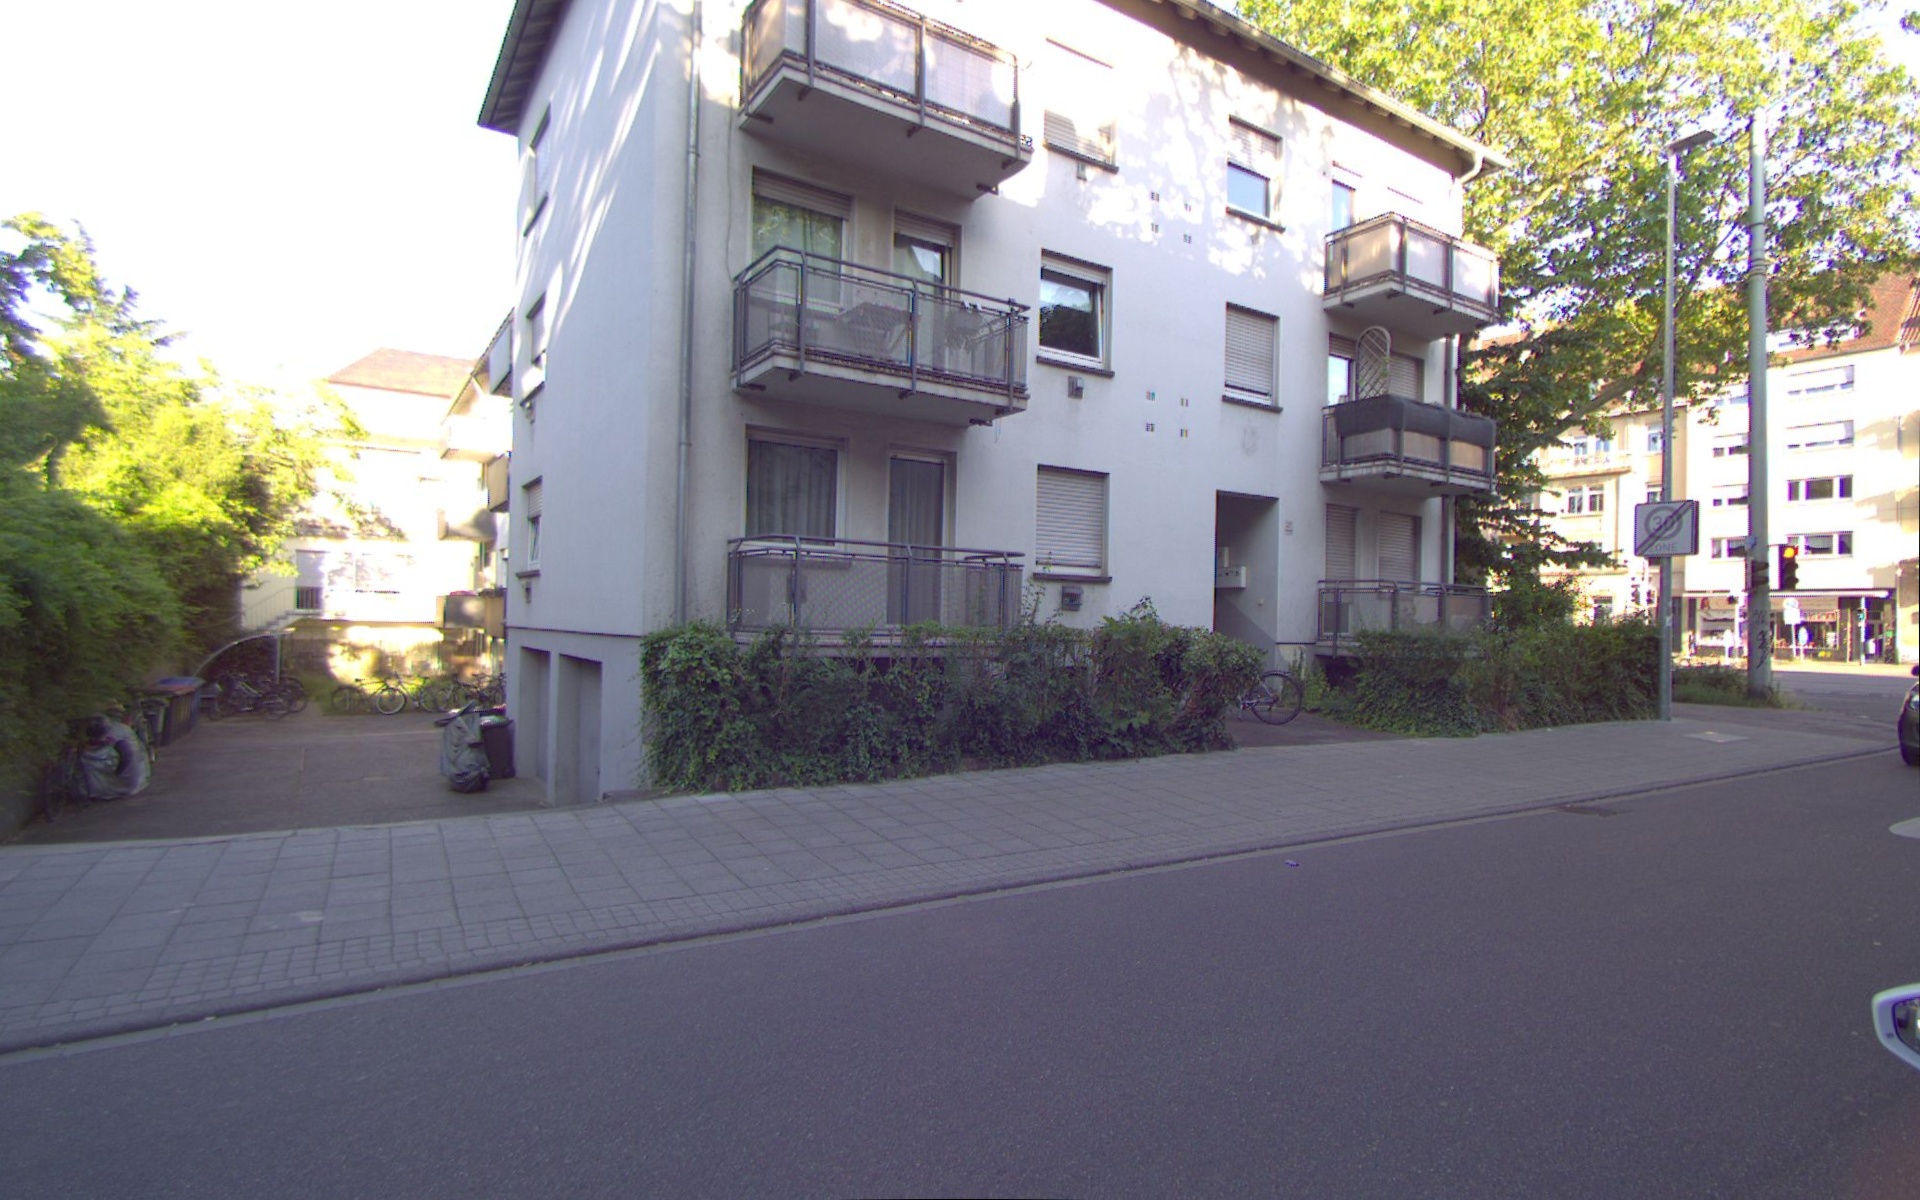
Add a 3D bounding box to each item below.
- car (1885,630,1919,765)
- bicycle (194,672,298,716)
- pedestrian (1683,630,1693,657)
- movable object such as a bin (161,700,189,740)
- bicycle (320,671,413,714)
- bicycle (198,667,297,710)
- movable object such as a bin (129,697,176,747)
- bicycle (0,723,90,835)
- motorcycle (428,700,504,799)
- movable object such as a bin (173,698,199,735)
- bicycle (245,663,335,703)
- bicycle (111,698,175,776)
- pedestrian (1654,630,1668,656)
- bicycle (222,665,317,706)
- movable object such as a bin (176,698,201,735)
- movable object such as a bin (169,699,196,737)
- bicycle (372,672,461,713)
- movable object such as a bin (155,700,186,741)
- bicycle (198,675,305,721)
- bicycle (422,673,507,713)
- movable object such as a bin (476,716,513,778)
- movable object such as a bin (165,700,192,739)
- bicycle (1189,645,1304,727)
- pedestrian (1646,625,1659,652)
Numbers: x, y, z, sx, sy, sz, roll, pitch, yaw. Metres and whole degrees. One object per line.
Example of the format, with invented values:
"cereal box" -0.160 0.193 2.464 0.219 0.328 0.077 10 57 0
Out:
"car" 12.659 1.141 11.843 3.549 1.521 1.608 1 -1 -30
"bicycle" -18.032 2.378 25.431 2.045 1.034 0.568 4 0 -30
"pedestrian" 42.174 2.519 58.189 0.467 1.531 0.429 0 -1 41
"movable object such as a bin" -15.829 2.412 20.256 0.377 0.784 0.361 2 -4 -30
"bicycle" -15.697 2.455 26.616 2.045 1.034 0.637 4 0 -30
"bicycle" -18.864 2.360 26.658 2.045 1.034 0.611 4 0 -30
"movable object such as a bin" -14.955 2.252 18.624 0.570 0.891 0.491 2 -4 -30
"bicycle" -11.014 2.098 12.061 0.509 1.033 1.922 3 -1 -32
"motorcycle" -7.404 2.194 15.025 0.751 1.268 1.578 1 -2 -36
"movable object such as a bin" -16.395 2.466 21.284 0.362 0.768 0.361 2 -4 -30
"bicycle" -19.022 2.365 28.567 2.045 1.034 0.564 4 0 -30
"bicycle" -13.226 2.180 16.296 0.509 1.033 1.922 3 -1 -32
"pedestrian" 41.229 2.527 59.051 0.531 1.531 0.505 1 -1 -34
"bicycle" -18.999 2.361 27.695 2.045 1.034 0.611 4 0 -30
"movable object such as a bin" -16.610 2.501 21.628 0.342 0.768 0.361 2 -4 -30
"movable object such as a bin" -16.214 2.449 20.947 0.362 0.768 0.361 2 -4 -30
"bicycle" -14.709 2.514 27.216 2.045 1.034 0.637 4 0 -30
"movable object such as a bin" -15.635 2.384 19.896 0.393 0.784 0.361 2 -4 -30
"bicycle" -17.280 2.397 24.553 2.045 1.034 0.637 4 0 -30
"bicycle" -13.702 2.581 27.806 2.045 1.034 0.637 4 0 -30
"movable object such as a bin" -7.505 2.358 16.185 0.428 0.899 0.720 1 -2 -34
"movable object such as a bin" -16.027 2.437 20.597 0.371 0.768 0.361 2 -4 -30
"bicycle" 3.878 1.149 13.616 1.433 0.988 0.407 3 0 21
"pedestrian" 40.385 2.252 58.594 0.558 1.531 0.499 0 -1 41
